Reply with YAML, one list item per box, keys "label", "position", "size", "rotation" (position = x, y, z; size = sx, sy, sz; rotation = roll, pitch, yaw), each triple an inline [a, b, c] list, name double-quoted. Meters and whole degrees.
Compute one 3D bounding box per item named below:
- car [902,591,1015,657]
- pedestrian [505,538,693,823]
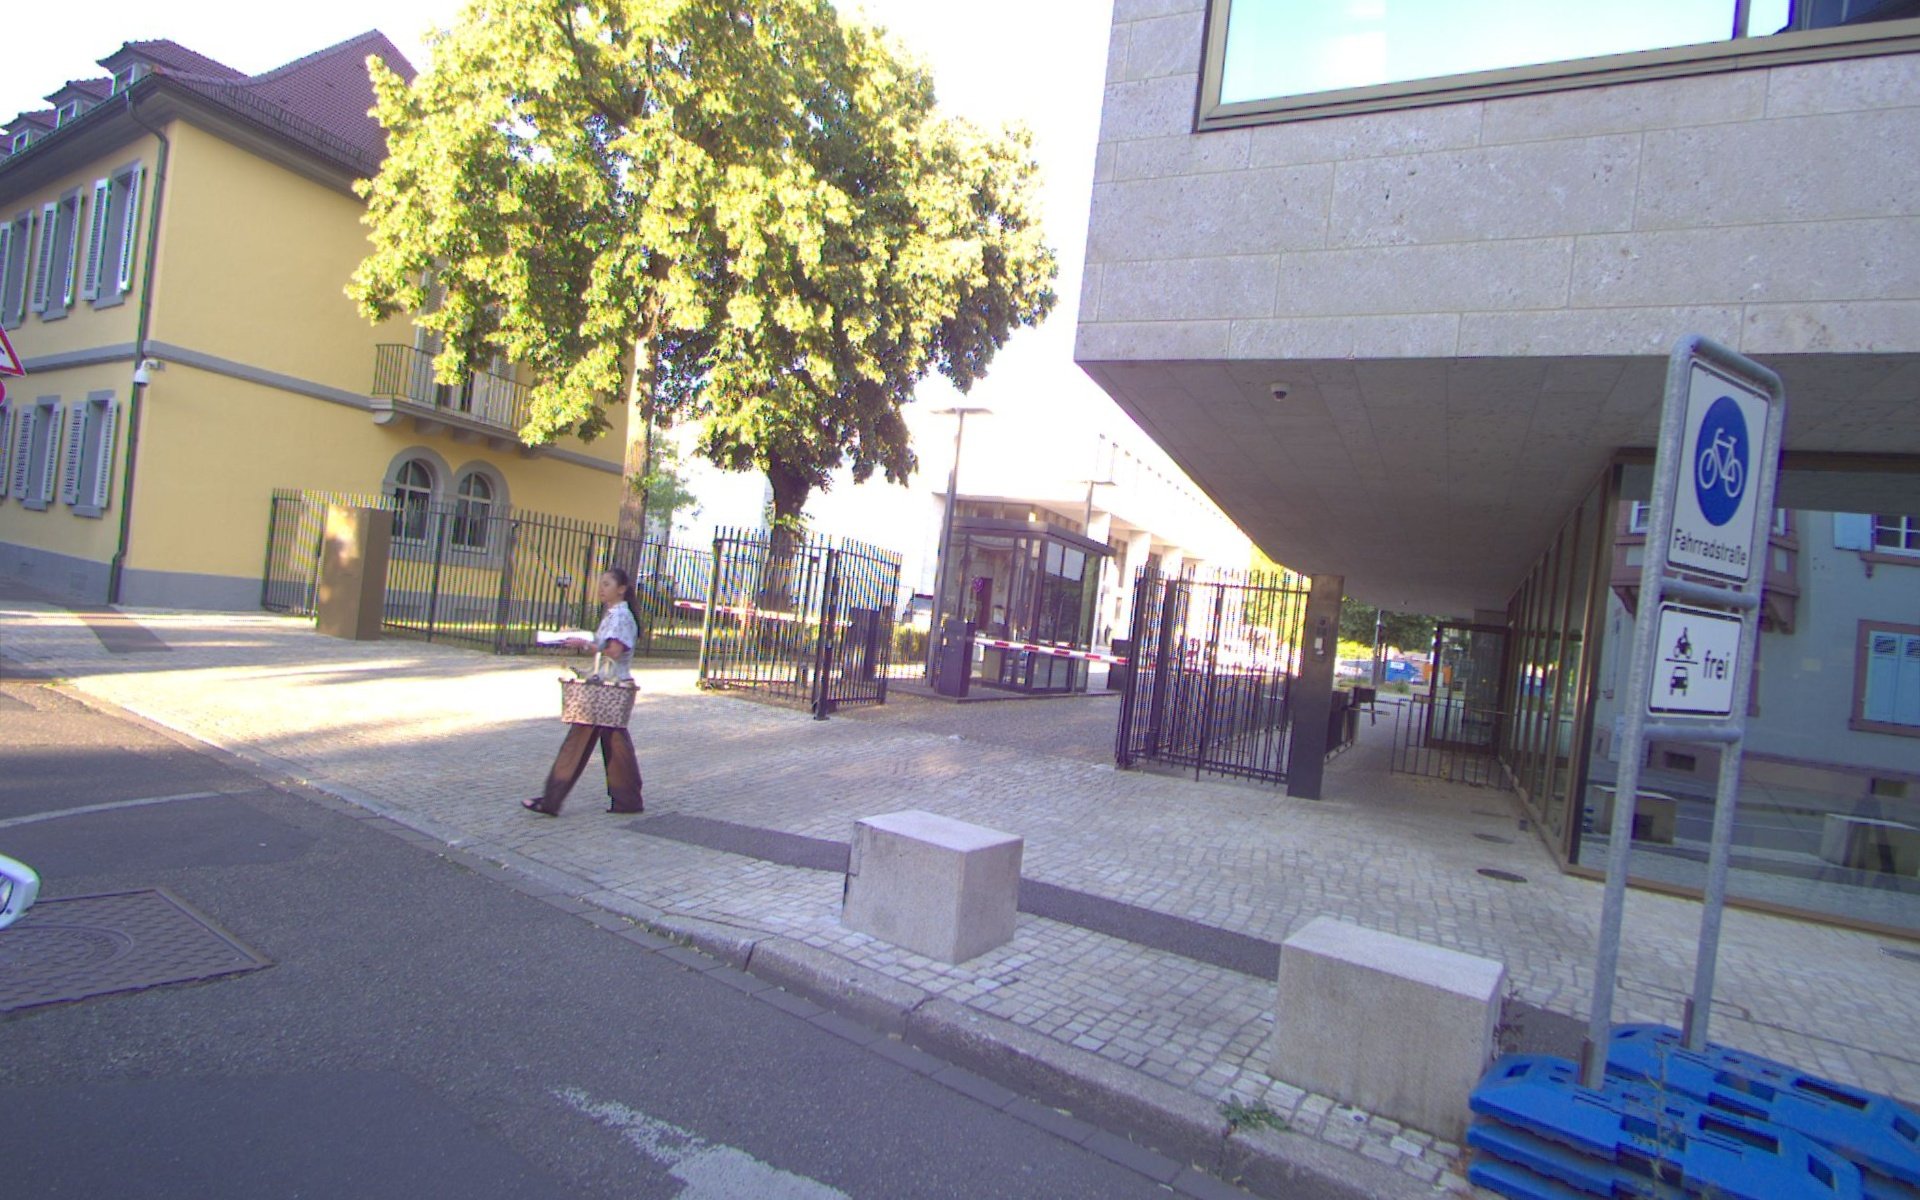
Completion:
- label: "car"
  position: [0.036, 0.816, 32.214]
  size: [1.681, 1.758, 4.057]
  rotation: [6, -1, 30]
- label: "pedestrian"
  position: [-2.289, 0.510, 6.457]
  size: [0.945, 1.680, 0.637]
  rotation: [5, 1, -18]
